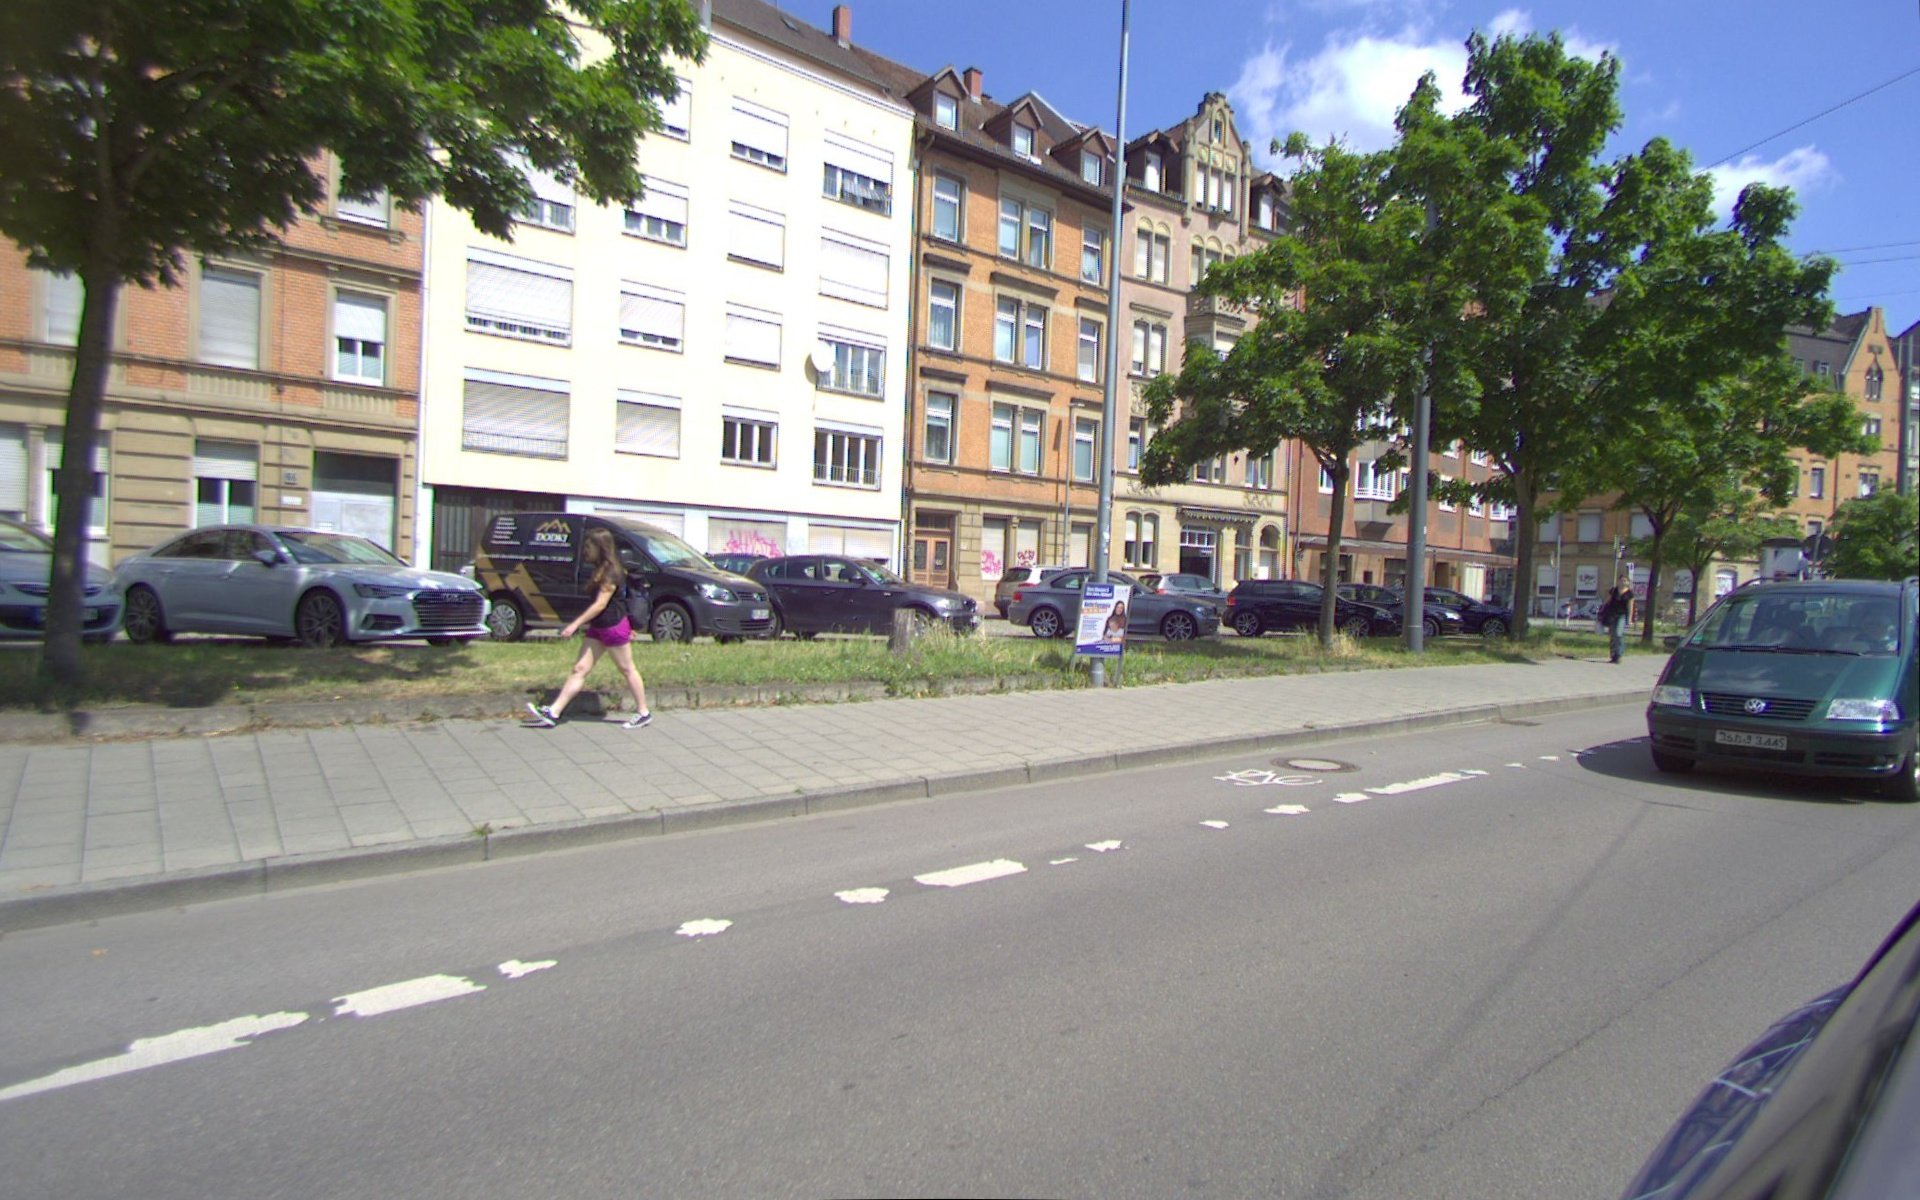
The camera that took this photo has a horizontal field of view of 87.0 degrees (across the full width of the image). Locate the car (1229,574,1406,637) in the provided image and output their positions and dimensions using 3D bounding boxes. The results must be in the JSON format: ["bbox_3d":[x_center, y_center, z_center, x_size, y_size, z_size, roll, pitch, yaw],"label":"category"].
[{"bbox_3d":[8.831,0.090,25.010,3.959,1.397,1.944,1,1,26],"label":"car"}]

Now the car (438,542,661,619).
[{"bbox_3d":[-8.835,-0.394,21.917,4.148,1.510,1.837,0,1,-37],"label":"car"}]

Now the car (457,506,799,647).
[{"bbox_3d":[-4.624,-0.352,14.202,4.307,1.763,1.842,1,1,18],"label":"car"}]

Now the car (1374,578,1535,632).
[{"bbox_3d":[13.977,0.103,28.643,3.968,1.371,1.940,2,1,31],"label":"car"}]

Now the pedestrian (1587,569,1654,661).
[{"bbox_3d":[12.989,0.273,19.895,1.025,1.724,0.702,0,4,-38],"label":"pedestrian"}]

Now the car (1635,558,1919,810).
[{"bbox_3d":[8.168,0.566,9.370,4.941,1.778,1.823,0,1,-39],"label":"car"}]

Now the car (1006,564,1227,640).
[{"bbox_3d":[3.191,0.005,20.490,4.212,1.397,1.842,1,1,18],"label":"car"}]

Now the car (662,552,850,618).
[{"bbox_3d":[-4.964,-0.351,24.883,4.148,1.510,1.837,0,1,-37],"label":"car"}]

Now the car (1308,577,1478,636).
[{"bbox_3d":[11.277,0.134,26.614,3.951,1.397,1.948,1,1,21],"label":"car"}]

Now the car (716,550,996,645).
[{"bbox_3d":[-1.684,-0.074,16.641,4.212,1.397,1.842,1,1,18],"label":"car"}]

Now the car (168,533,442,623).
[{"bbox_3d":[-12.198,-0.387,19.015,4.148,1.510,1.837,0,1,-37],"label":"car"}]

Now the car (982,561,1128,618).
[{"bbox_3d":[2.987,-0.312,31.449,4.412,1.636,1.837,0,1,-37],"label":"car"}]

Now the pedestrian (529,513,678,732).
[{"bbox_3d":[-2.832,0.152,8.032,0.888,1.611,0.703,1,4,-38],"label":"pedestrian"}]

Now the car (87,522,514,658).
[{"bbox_3d":[-7.824,-0.164,12.027,4.634,1.397,1.841,1,1,20],"label":"car"}]

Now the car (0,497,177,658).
[{"bbox_3d":[-10.222,-0.244,10.148,4.032,1.423,1.841,1,1,19],"label":"car"}]

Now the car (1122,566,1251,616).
[{"bbox_3d":[7.878,-0.292,35.051,4.409,1.636,1.839,0,1,-34],"label":"car"}]
